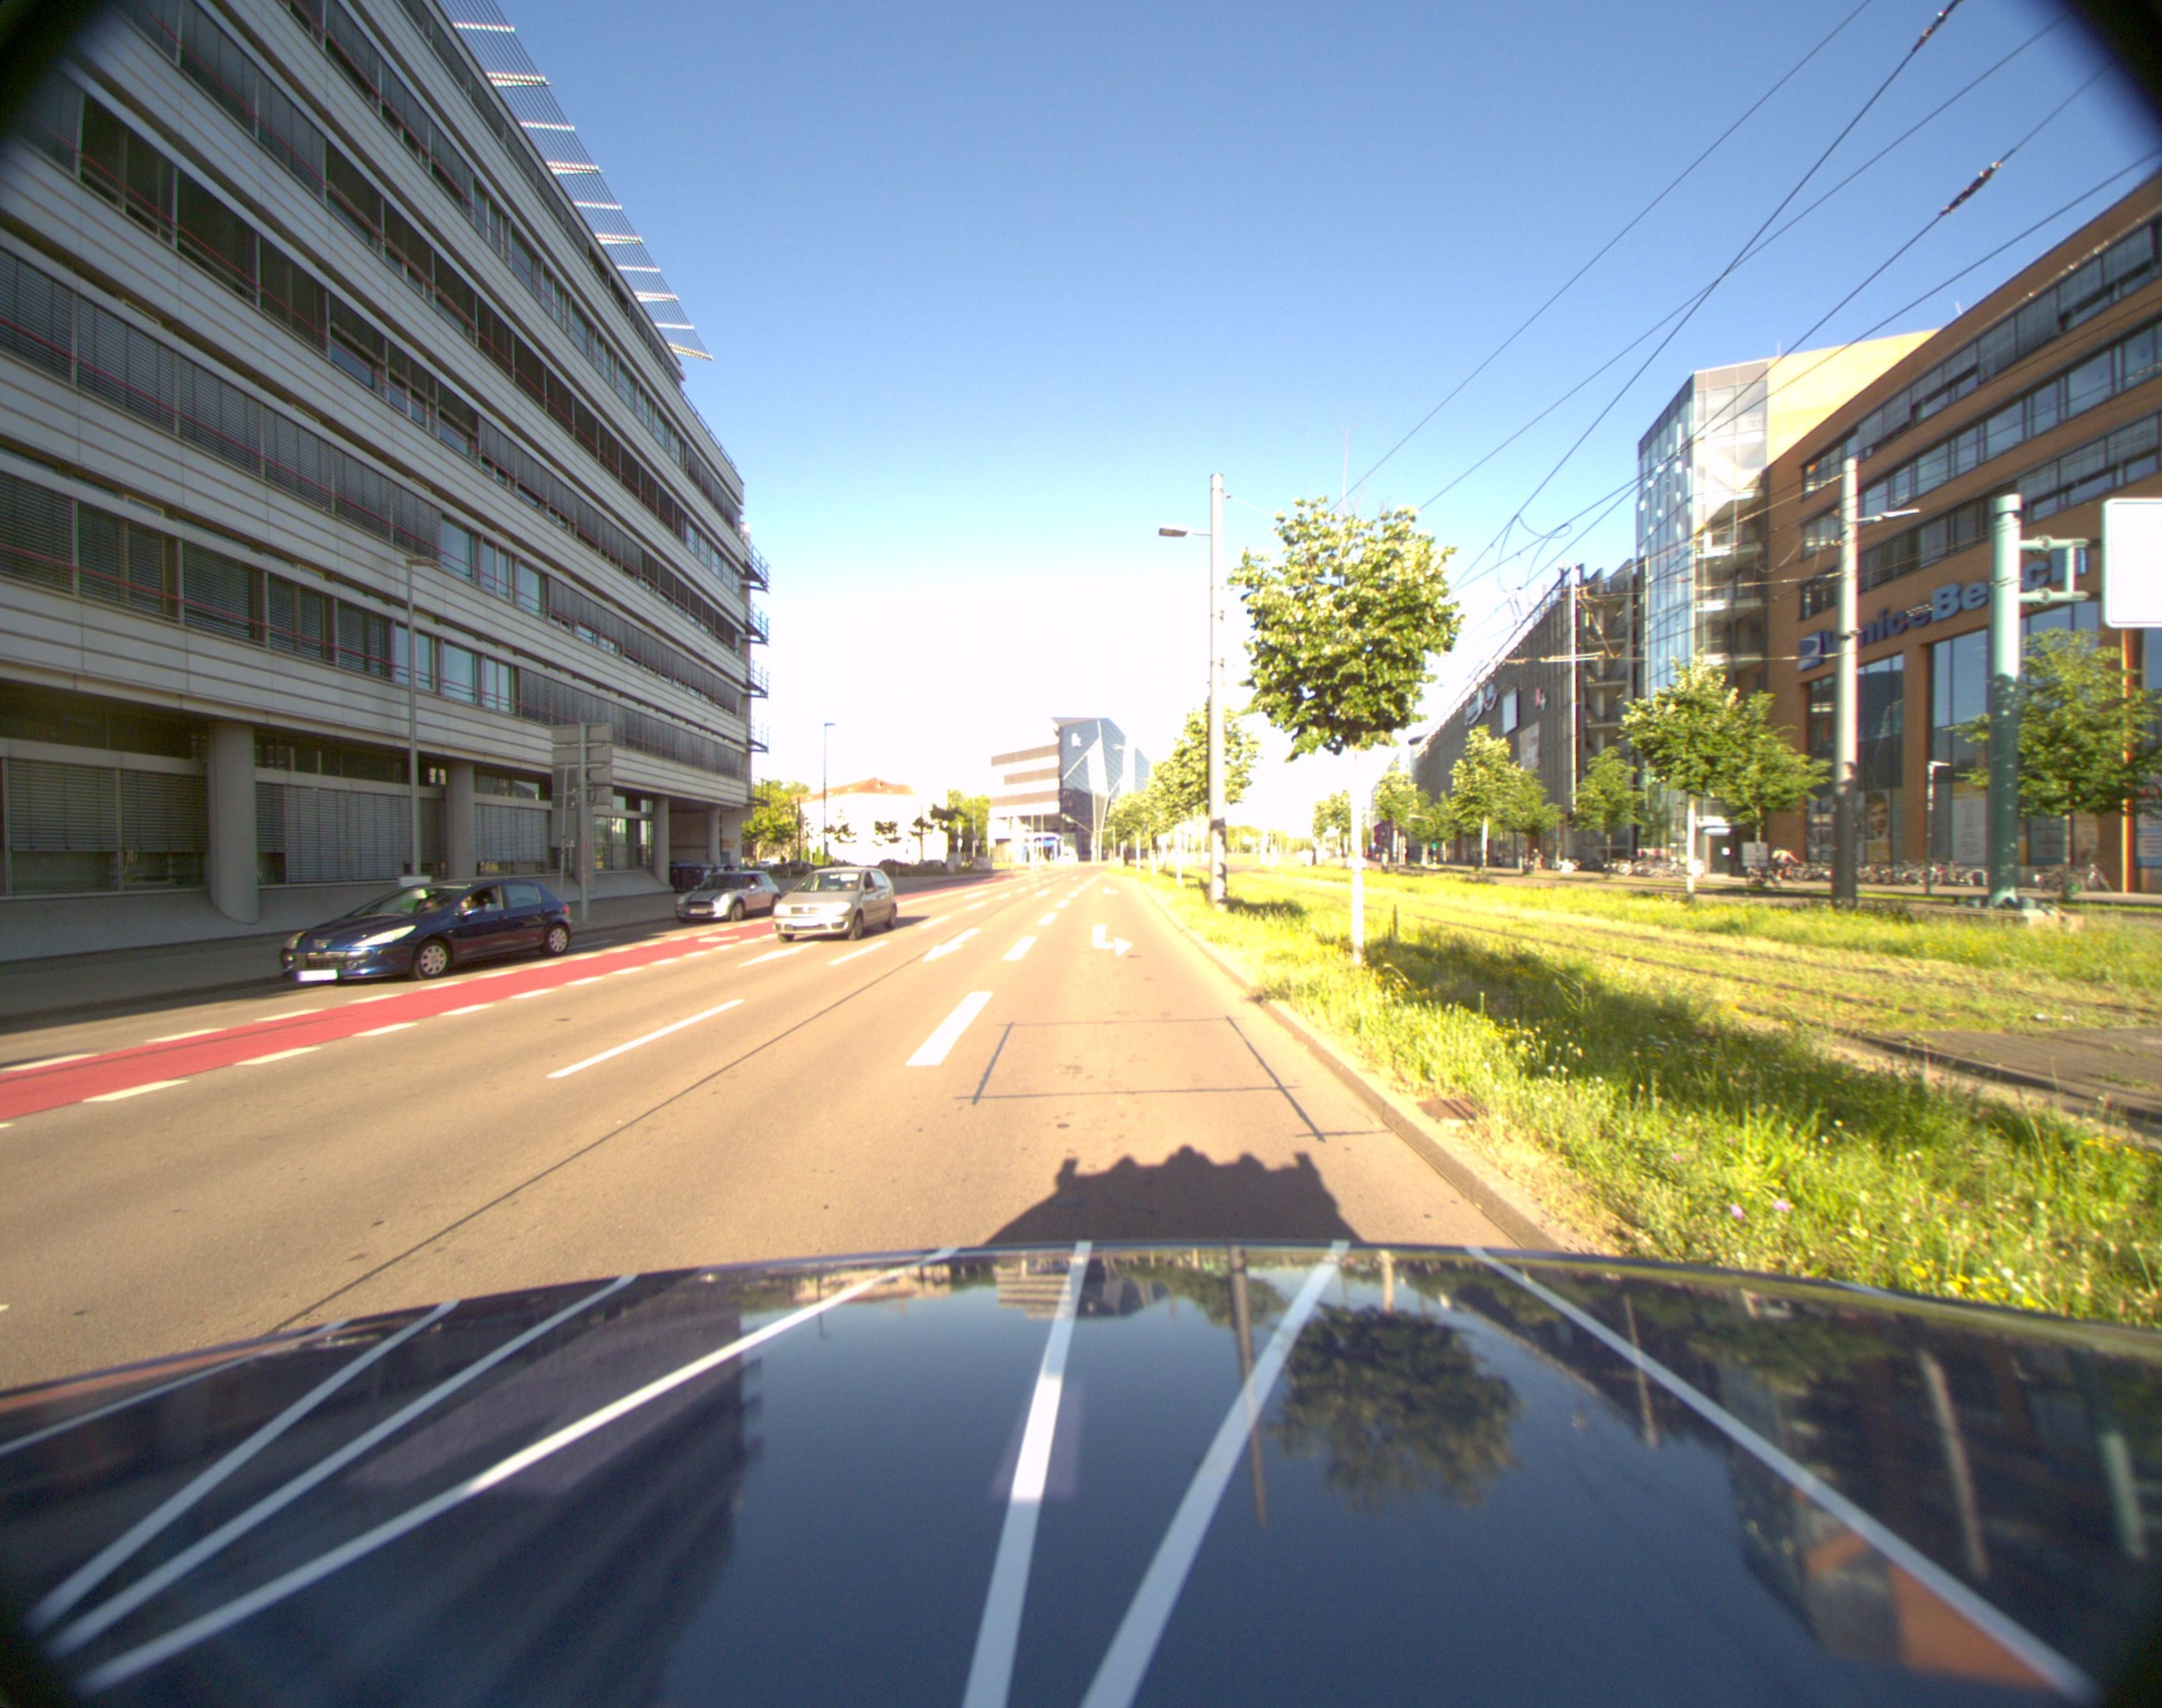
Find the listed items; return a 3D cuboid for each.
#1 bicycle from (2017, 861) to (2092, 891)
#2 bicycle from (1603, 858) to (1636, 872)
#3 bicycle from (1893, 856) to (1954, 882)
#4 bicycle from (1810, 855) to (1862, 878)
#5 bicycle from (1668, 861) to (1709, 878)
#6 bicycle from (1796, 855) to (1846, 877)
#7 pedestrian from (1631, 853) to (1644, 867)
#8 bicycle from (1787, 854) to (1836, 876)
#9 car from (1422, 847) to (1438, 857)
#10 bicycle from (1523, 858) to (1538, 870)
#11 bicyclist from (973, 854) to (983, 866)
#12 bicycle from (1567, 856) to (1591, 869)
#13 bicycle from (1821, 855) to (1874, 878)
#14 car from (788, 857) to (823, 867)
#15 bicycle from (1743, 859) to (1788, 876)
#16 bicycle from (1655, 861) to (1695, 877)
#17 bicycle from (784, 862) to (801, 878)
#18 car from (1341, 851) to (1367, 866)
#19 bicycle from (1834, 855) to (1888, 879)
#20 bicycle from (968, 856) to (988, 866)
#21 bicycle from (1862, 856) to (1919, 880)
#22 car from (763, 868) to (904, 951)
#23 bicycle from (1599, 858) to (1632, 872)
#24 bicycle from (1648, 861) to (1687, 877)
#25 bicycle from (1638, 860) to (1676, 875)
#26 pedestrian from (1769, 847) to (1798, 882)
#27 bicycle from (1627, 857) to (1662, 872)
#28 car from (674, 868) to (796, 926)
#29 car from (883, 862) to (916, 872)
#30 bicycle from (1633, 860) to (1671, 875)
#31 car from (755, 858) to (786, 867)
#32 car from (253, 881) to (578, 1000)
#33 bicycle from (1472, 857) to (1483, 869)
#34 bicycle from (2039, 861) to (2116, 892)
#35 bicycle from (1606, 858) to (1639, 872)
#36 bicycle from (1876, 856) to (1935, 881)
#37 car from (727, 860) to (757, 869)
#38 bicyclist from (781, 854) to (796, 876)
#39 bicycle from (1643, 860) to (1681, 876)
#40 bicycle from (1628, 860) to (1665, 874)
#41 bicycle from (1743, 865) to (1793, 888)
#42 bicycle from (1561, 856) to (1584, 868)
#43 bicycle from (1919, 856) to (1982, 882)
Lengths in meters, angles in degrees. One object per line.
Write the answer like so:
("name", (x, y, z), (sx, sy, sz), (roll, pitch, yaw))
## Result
("bicycle", (34.159, 0.765, 26.681), (1.769, 1.043, 0.491), (-1, 1, 8))
("bicycle", (36.691, 0.751, 51.790), (1.768, 0.921, 0.491), (-1, 1, 17))
("bicycle", (34.867, 0.624, 31.451), (1.769, 1.043, 0.491), (-1, 1, 8))
("bicycle", (35.298, 0.573, 35.548), (1.769, 1.043, 0.491), (-1, 1, 8))
("bicycle", (34.604, 0.899, 43.299), (1.768, 0.921, 0.565), (-1, 1, 17))
("bicycle", (35.517, 0.558, 36.484), (1.769, 1.043, 0.491), (-1, 1, 8))
("pedestrian", (40.730, 0.438, 55.627), (0.629, 1.048, 0.450), (-1, 1, 13))
("bicycle", (35.592, 0.550, 37.048), (1.769, 1.043, 0.491), (-1, 1, 8))
("car", (54.239, -0.351, 118.121), (1.582, 1.521, 3.754), (-2, 1, 13))
("bicycle", (32.653, 0.735, 55.202), (0.386, 0.863, 1.773), (0, 1, 13))
("bicyclist", (-13.319, 0.758, 98.107), (1.006, 1.598, 0.880), (-1, 1, 14))
("bicycle", (37.575, 0.650, 57.338), (1.398, 0.921, 0.462), (-1, 1, 17))
("bicycle", (35.170, 0.584, 34.862), (1.769, 1.043, 0.491), (-1, 1, 8))
("car", (-39.871, 1.159, 109.985), (4.516, 1.414, 2.002), (-1, 1, 17))
("bicycle", (37.517, 0.741, 41.672), (1.768, 0.921, 0.565), (-1, 1, 17))
("bicycle", (34.664, 0.886, 44.385), (1.768, 0.921, 0.565), (-1, 1, 17))
("bicycle", (-20.900, 1.140, 55.119), (0.505, 1.052, 1.702), (2, 1, 2))
("car", (25.752, 0.370, 71.659), (1.808, 1.320, 4.409), (0, 1, 13))
("bicycle", (35.081, 0.593, 34.183), (1.769, 1.043, 0.491), (-1, 1, 8))
("bicycle", (-13.305, 0.916, 98.091), (2.368, 1.304, 0.952), (-1, 1, 13))
("bicycle", (35.017, 0.606, 32.889), (1.769, 1.043, 0.491), (-1, 1, 8))
("car", (-5.141, 1.092, 16.307), (1.620, 1.421, 3.767), (-2, 1, 2))
("bicycle", (36.860, 0.752, 52.425), (1.768, 0.921, 0.491), (-1, 1, 17))
("bicycle", (34.885, 0.871, 45.198), (1.768, 0.921, 0.565), (-1, 1, 17))
("bicycle", (35.309, 0.844, 46.593), (1.768, 0.921, 0.565), (-1, 1, 17))
("pedestrian", (33.771, 0.503, 36.529), (0.746, 1.659, 0.676), (-1, 1, 7))
("bicycle", (35.999, 0.689, 48.561), (1.768, 0.921, 0.491), (-1, 1, 17))
("car", (-10.016, 1.184, 22.331), (1.438, 1.437, 4.001), (-1, 0, 5))
("car", (-25.008, 1.787, 104.541), (3.991, 1.414, 2.003), (-1, 1, 20))
("bicycle", (35.501, 0.832, 47.247), (1.768, 0.921, 0.565), (-1, 1, 17))
("car", (-45.868, 1.290, 112.222), (3.990, 1.237, 2.003), (-1, 1, 22))
("car", (-10.531, 1.272, 12.511), (1.735, 1.437, 4.000), (-2, 0, 1))
("bicycle", (31.575, 0.680, 60.482), (0.386, 0.918, 1.773), (0, 1, 13))
("bicycle", (34.112, 0.772, 26.028), (1.769, 1.043, 0.491), (-1, 1, 8))
("bicycle", (36.452, 0.765, 51.156), (1.768, 0.921, 0.565), (-1, 1, 17))
("bicycle", (34.928, 0.615, 32.193), (1.769, 1.043, 0.491), (-1, 1, 8))
("car", (-51.182, 1.579, 114.628), (3.990, 1.368, 1.938), (-1, 1, 24))
("bicyclist", (-21.152, 0.803, 54.938), (0.685, 1.609, 0.991), (-1, 1, 2))
("bicycle", (35.116, 0.857, 45.941), (1.768, 0.921, 0.565), (-1, 1, 17))
("bicycle", (35.694, 0.819, 47.950), (1.768, 0.921, 0.565), (-1, 1, 17))
("bicycle", (28.042, 0.903, 31.033), (0.464, 0.863, 1.771), (-1, 1, 1))
("bicycle", (38.004, 0.623, 58.752), (1.398, 0.921, 0.462), (-1, 1, 17))
("bicycle", (35.212, 0.617, 30.787), (1.769, 1.043, 0.491), (-1, 1, 8))
